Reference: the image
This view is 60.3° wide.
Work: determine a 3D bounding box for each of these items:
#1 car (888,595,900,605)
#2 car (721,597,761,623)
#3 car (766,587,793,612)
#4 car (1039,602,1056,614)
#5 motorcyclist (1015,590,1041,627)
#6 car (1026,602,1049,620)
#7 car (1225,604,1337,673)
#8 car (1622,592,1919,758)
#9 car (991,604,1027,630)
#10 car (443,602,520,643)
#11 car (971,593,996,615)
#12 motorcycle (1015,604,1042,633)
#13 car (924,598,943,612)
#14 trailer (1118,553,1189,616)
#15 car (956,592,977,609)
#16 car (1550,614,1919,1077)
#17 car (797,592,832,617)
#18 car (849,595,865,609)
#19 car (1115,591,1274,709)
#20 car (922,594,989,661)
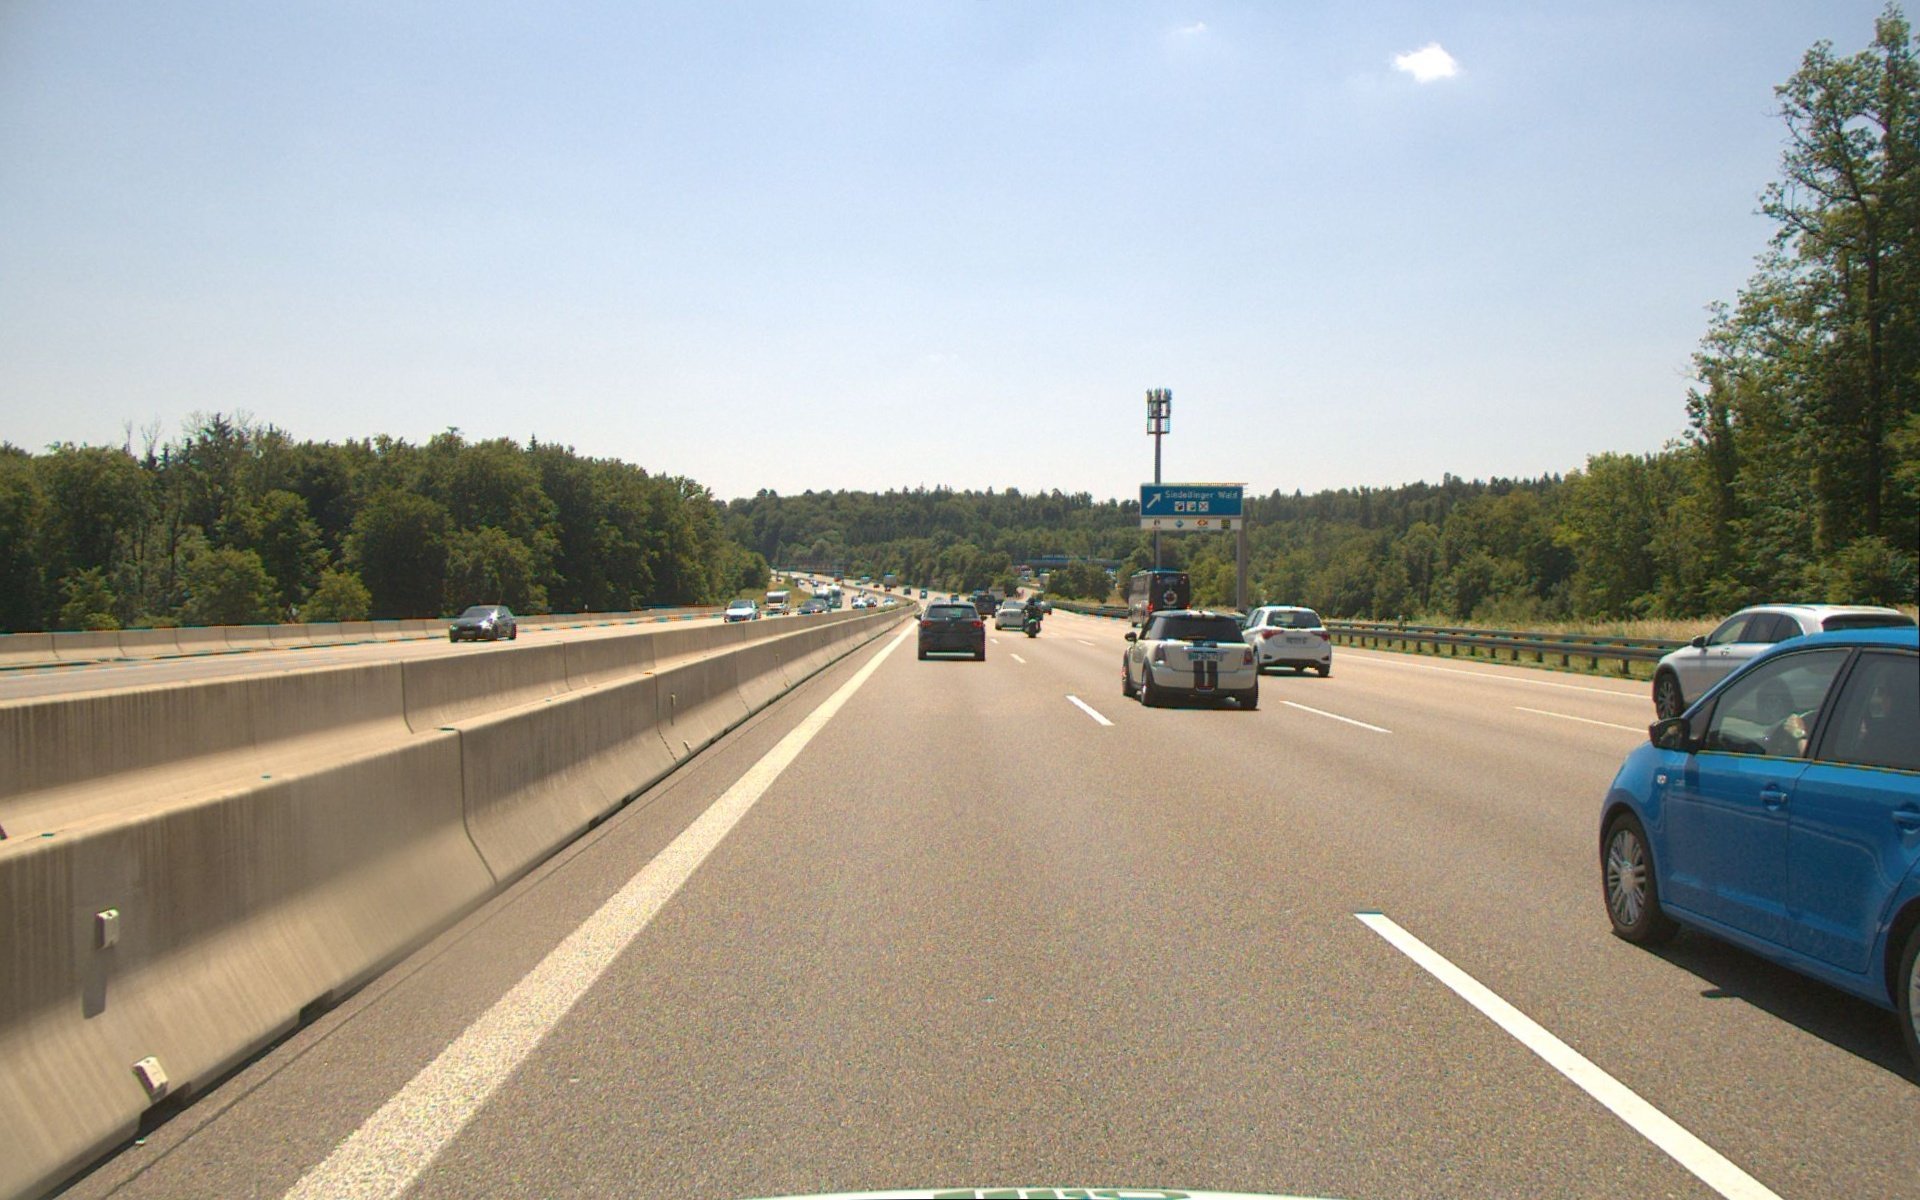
[{"bbox_3d":[-10.178,0.027,254.928,1.811,1.550,5.317,-2,0,-1],"label":"car"},{"bbox_3d":[-12.438,0.554,94.107,1.802,1.466,3.999,0,0,-2],"label":"car"},{"bbox_3d":[-20.300,-0.020,186.299,2.176,2.705,8.174,-2,0,-1],"label":"car"},{"bbox_3d":[9.838,0.885,185.654,1.576,1.233,3.458,-1,0,-2],"label":"car"},{"bbox_3d":[2.790,0.333,68.055,0.942,1.462,1.235,-1,1,-1],"label":"motorcyclist"},{"bbox_3d":[6.312,0.918,135.191,1.641,1.457,3.684,0,0,-1],"label":"car"},{"bbox_3d":[7.280,0.836,37.886,1.632,1.458,4.374,0,0,-2],"label":"car"},{"bbox_3d":[10.433,0.830,21.088,1.764,1.761,5.239,1,1,-1],"label":"car"},{"bbox_3d":[2.536,0.856,86.214,1.746,1.287,3.459,0,0,-1],"label":"car"},{"bbox_3d":[-19.135,0.871,66.355,1.802,1.466,4.762,-2,0,-2],"label":"car"},{"bbox_3d":[2.023,0.358,143.573,2.054,1.884,4.080,0,0,-1],"label":"car"},{"bbox_3d":[2.798,0.764,68.115,0.957,1.149,2.270,0,0,-1],"label":"motorcycle"},{"bbox_3d":[-2.426,0.453,148.458,1.506,1.233,3.457,-1,0,-4],"label":"car"},{"bbox_3d":[12.326,-0.891,106.537,2.799,3.752,13.539,-1,0,-1],"label":"trailer"},{"bbox_3d":[0.685,0.066,184.009,1.955,1.713,4.419,1,1,-5],"label":"car"},{"bbox_3d":[3.910,0.804,6.541,1.702,1.436,4.000,0,0,-1],"label":"car"},{"bbox_3d":[-8.712,0.273,99.331,1.802,1.466,4.843,0,0,-2],"label":"car"},{"bbox_3d":[-14.095,0.260,225.906,1.953,1.819,5.317,-2,0,-1],"label":"car"},{"bbox_3d":[3.517,0.706,25.431,1.804,1.579,4.000,3,0,0],"label":"car"},{"bbox_3d":[-0.120,0.661,41.817,1.591,1.513,3.685,1,1,-1],"label":"car"}]
